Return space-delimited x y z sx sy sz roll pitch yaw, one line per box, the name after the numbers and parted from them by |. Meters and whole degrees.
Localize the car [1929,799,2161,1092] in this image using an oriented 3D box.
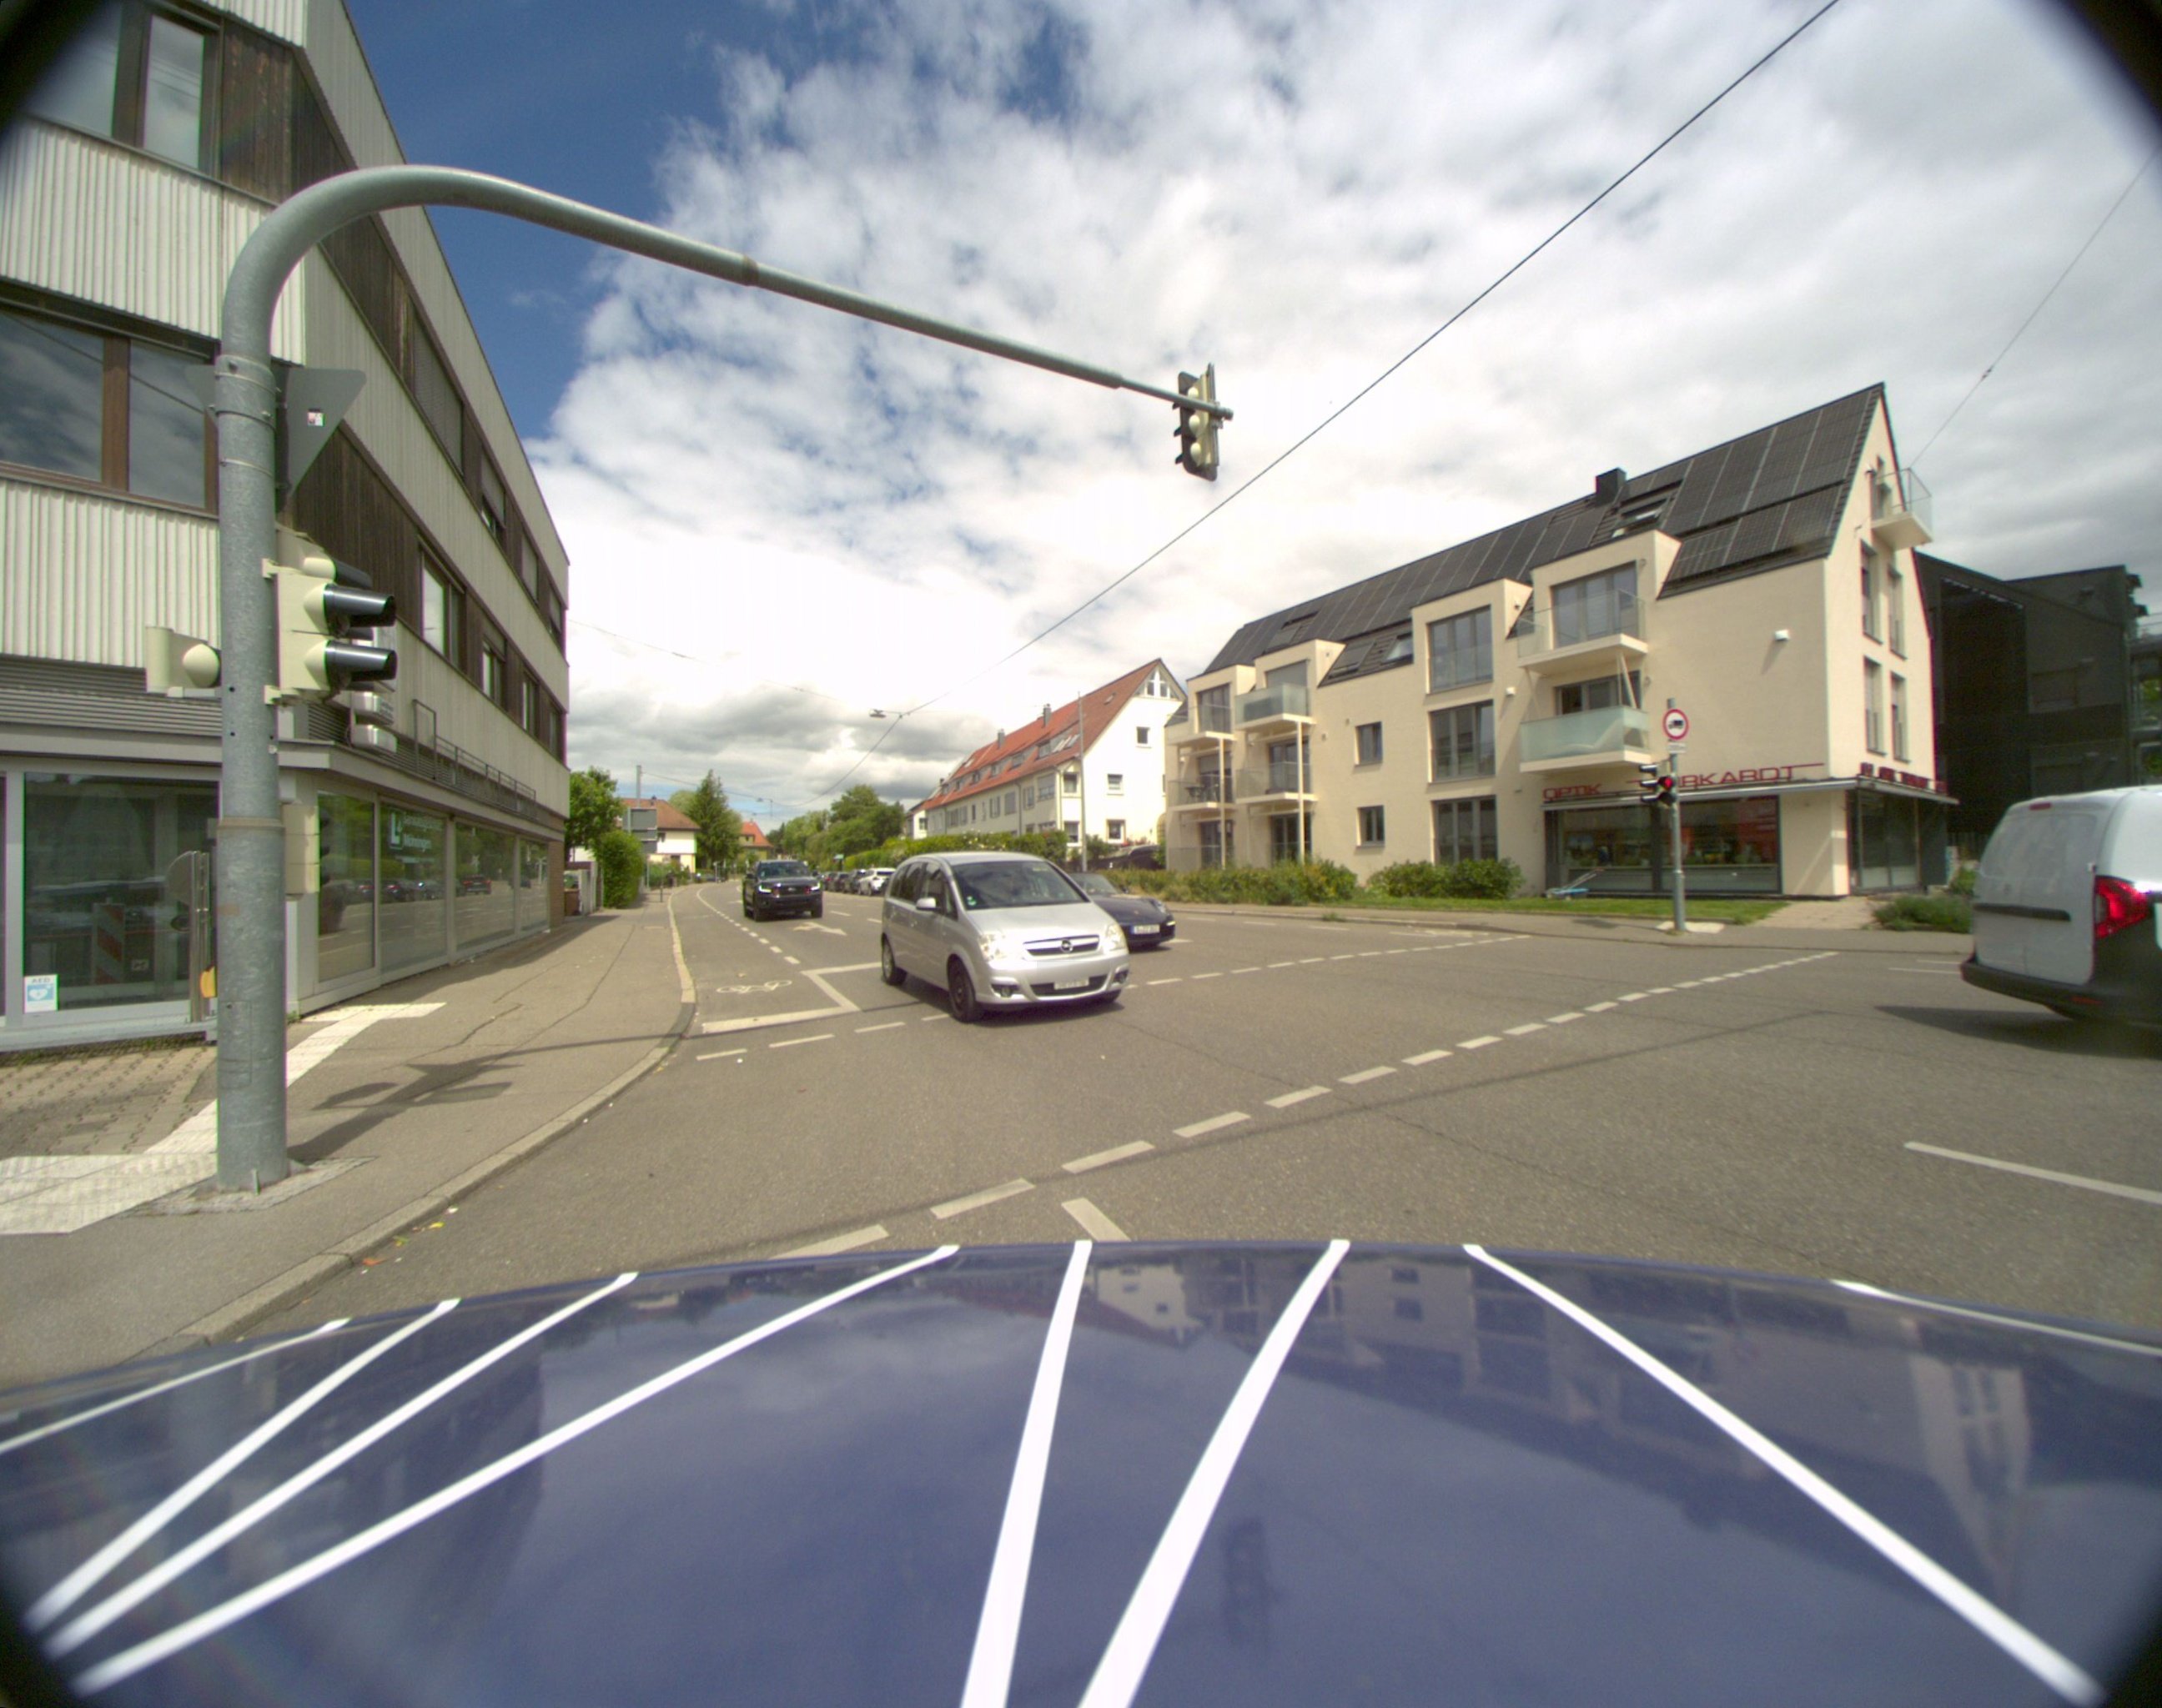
8.613 0.467 4.491 4.407 1.801 1.825 -3 -1 32 | car

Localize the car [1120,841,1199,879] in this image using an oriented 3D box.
4.509 0.343 43.659 4.006 2.002 1.996 -2 0 -28 | car

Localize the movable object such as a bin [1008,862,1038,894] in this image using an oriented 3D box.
-2.710 1.100 35.488 1.094 1.438 0.978 -2 0 -28 | movable object such as a bin

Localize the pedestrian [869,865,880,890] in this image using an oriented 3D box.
-14.598 1.660 53.700 0.534 1.805 0.510 -2 0 -33 | pedestrian

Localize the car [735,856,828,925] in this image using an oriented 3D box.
-9.436 1.057 23.631 1.891 1.838 5.209 -2 0 -30 | car

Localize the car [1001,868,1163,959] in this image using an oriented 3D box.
-0.152 0.978 14.116 1.817 1.356 4.038 -2 0 -18 | car

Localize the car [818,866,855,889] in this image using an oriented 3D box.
-19.092 1.792 59.232 2.003 1.623 4.227 -1 0 -28 | car

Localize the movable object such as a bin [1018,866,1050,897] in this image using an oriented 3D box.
-2.143 1.216 34.257 1.094 1.354 0.978 -2 0 -28 | movable object such as a bin

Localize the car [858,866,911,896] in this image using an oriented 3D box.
-11.615 1.530 44.735 2.003 1.623 4.443 -1 0 -28 | car

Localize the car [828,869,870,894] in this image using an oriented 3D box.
-16.589 1.937 54.178 2.004 1.623 4.227 3 -3 -28 | car

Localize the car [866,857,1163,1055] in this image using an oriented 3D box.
-0.991 0.868 8.372 1.778 1.566 3.992 -2 0 -28 | car

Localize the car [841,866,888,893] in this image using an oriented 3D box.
-14.006 1.632 49.090 2.003 1.623 4.227 -1 0 -28 | car

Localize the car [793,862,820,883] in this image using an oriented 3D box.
-27.051 1.792 74.709 2.003 1.903 4.061 -2 0 -26 | car

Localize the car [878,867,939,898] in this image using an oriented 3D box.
-9.202 1.463 40.372 1.823 1.492 4.443 -1 0 -31 | car

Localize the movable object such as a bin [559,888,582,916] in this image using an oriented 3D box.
-17.408 1.618 25.903 0.478 0.916 0.519 -1 0 44 | movable object such as a bin
